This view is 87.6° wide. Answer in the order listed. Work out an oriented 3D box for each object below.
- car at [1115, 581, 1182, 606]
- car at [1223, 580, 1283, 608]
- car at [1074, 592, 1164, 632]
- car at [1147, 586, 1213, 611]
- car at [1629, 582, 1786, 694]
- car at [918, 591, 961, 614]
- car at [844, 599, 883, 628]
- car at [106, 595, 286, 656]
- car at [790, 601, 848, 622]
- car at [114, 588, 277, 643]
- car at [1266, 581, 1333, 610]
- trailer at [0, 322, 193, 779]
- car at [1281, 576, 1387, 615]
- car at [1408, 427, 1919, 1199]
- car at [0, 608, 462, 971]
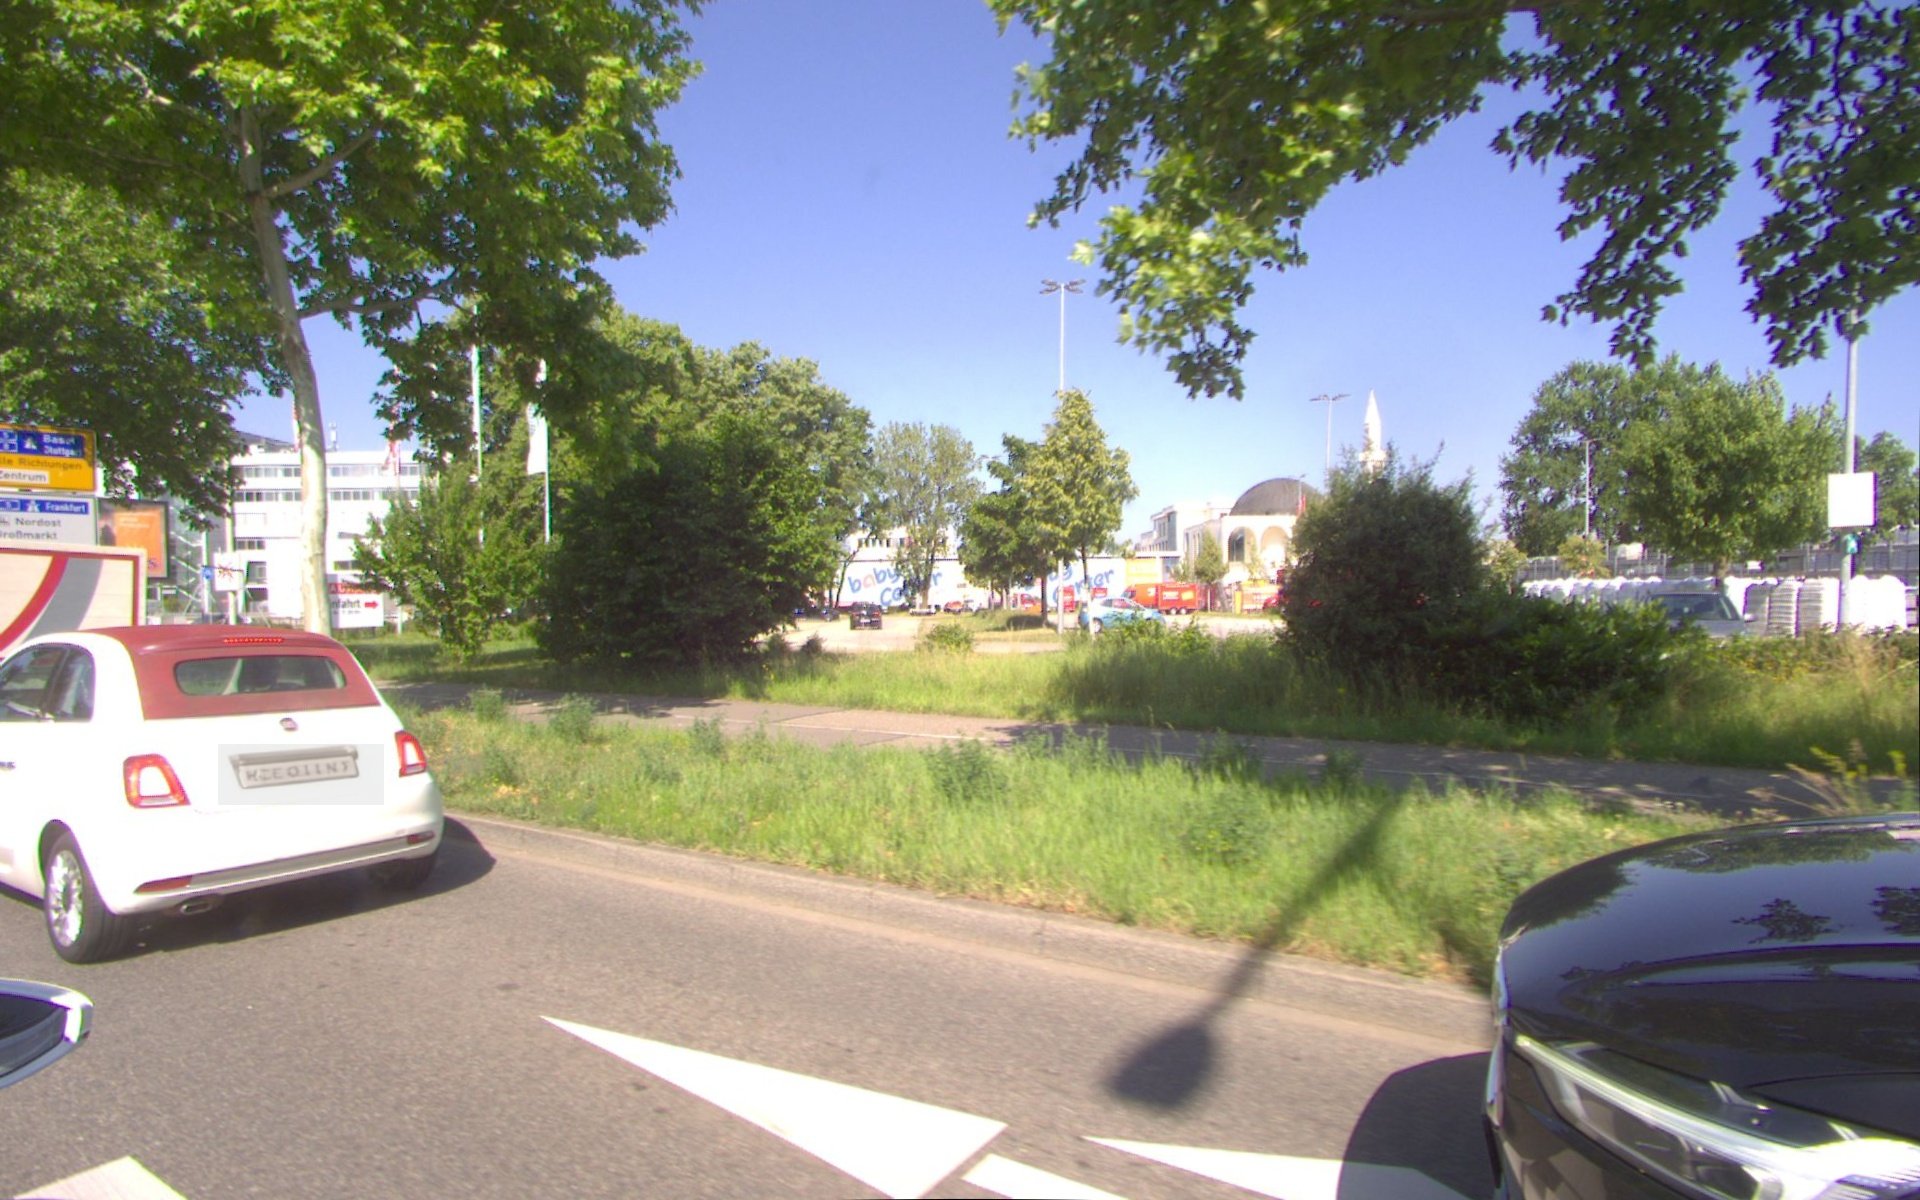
[{"bbox_3d":[15.939,-0.573,84.853,5.188,2.040,2.000,0,-1,-4],"label":"car"},{"bbox_3d":[22.205,-0.406,75.991,3.922,2.040,2.000,0,-1,2],"label":"car"},{"bbox_3d":[6.502,0.496,41.171,3.387,1.591,1.745,0,-1,-2],"label":"car"},{"bbox_3d":[17.322,-0.129,78.851,4.824,1.906,1.770,0,-1,2],"label":"car"},{"bbox_3d":[12.766,0.634,17.303,1.693,1.718,3.544,-1,-1,29],"label":"car"},{"bbox_3d":[-1.938,0.255,93.483,3.923,2.040,2.000,0,-1,-6],"label":"car"},{"bbox_3d":[-5.348,0.785,55.232,1.743,1.534,3.722,0,-1,-12],"label":"car"},{"bbox_3d":[-22.684,0.745,29.847,1.701,1.683,3.972,-1,-1,38],"label":"car"},{"bbox_3d":[-10.260,0.849,73.078,3.922,1.505,1.722,0,-1,1],"label":"car"},{"bbox_3d":[-25.041,0.519,32.906,1.701,1.683,3.972,-1,-1,38],"label":"car"},{"bbox_3d":[22.479,-0.283,66.444,3.924,1.884,1.999,-1,-1,10],"label":"car"},{"bbox_3d":[-13.076,-0.309,11.466,12.068,3.789,3.010,-1,-1,33],"label":"trailer"},{"bbox_3d":[23.439,-0.279,62.939,5.822,2.371,2.115,0,-1,1],"label":"car"},{"bbox_3d":[2.955,0.637,0.848,4.499,1.643,1.916,-1,-1,32],"label":"car"},{"bbox_3d":[-4.576,0.804,5.687,3.472,1.455,1.657,-1,-1,34],"label":"car"}]
